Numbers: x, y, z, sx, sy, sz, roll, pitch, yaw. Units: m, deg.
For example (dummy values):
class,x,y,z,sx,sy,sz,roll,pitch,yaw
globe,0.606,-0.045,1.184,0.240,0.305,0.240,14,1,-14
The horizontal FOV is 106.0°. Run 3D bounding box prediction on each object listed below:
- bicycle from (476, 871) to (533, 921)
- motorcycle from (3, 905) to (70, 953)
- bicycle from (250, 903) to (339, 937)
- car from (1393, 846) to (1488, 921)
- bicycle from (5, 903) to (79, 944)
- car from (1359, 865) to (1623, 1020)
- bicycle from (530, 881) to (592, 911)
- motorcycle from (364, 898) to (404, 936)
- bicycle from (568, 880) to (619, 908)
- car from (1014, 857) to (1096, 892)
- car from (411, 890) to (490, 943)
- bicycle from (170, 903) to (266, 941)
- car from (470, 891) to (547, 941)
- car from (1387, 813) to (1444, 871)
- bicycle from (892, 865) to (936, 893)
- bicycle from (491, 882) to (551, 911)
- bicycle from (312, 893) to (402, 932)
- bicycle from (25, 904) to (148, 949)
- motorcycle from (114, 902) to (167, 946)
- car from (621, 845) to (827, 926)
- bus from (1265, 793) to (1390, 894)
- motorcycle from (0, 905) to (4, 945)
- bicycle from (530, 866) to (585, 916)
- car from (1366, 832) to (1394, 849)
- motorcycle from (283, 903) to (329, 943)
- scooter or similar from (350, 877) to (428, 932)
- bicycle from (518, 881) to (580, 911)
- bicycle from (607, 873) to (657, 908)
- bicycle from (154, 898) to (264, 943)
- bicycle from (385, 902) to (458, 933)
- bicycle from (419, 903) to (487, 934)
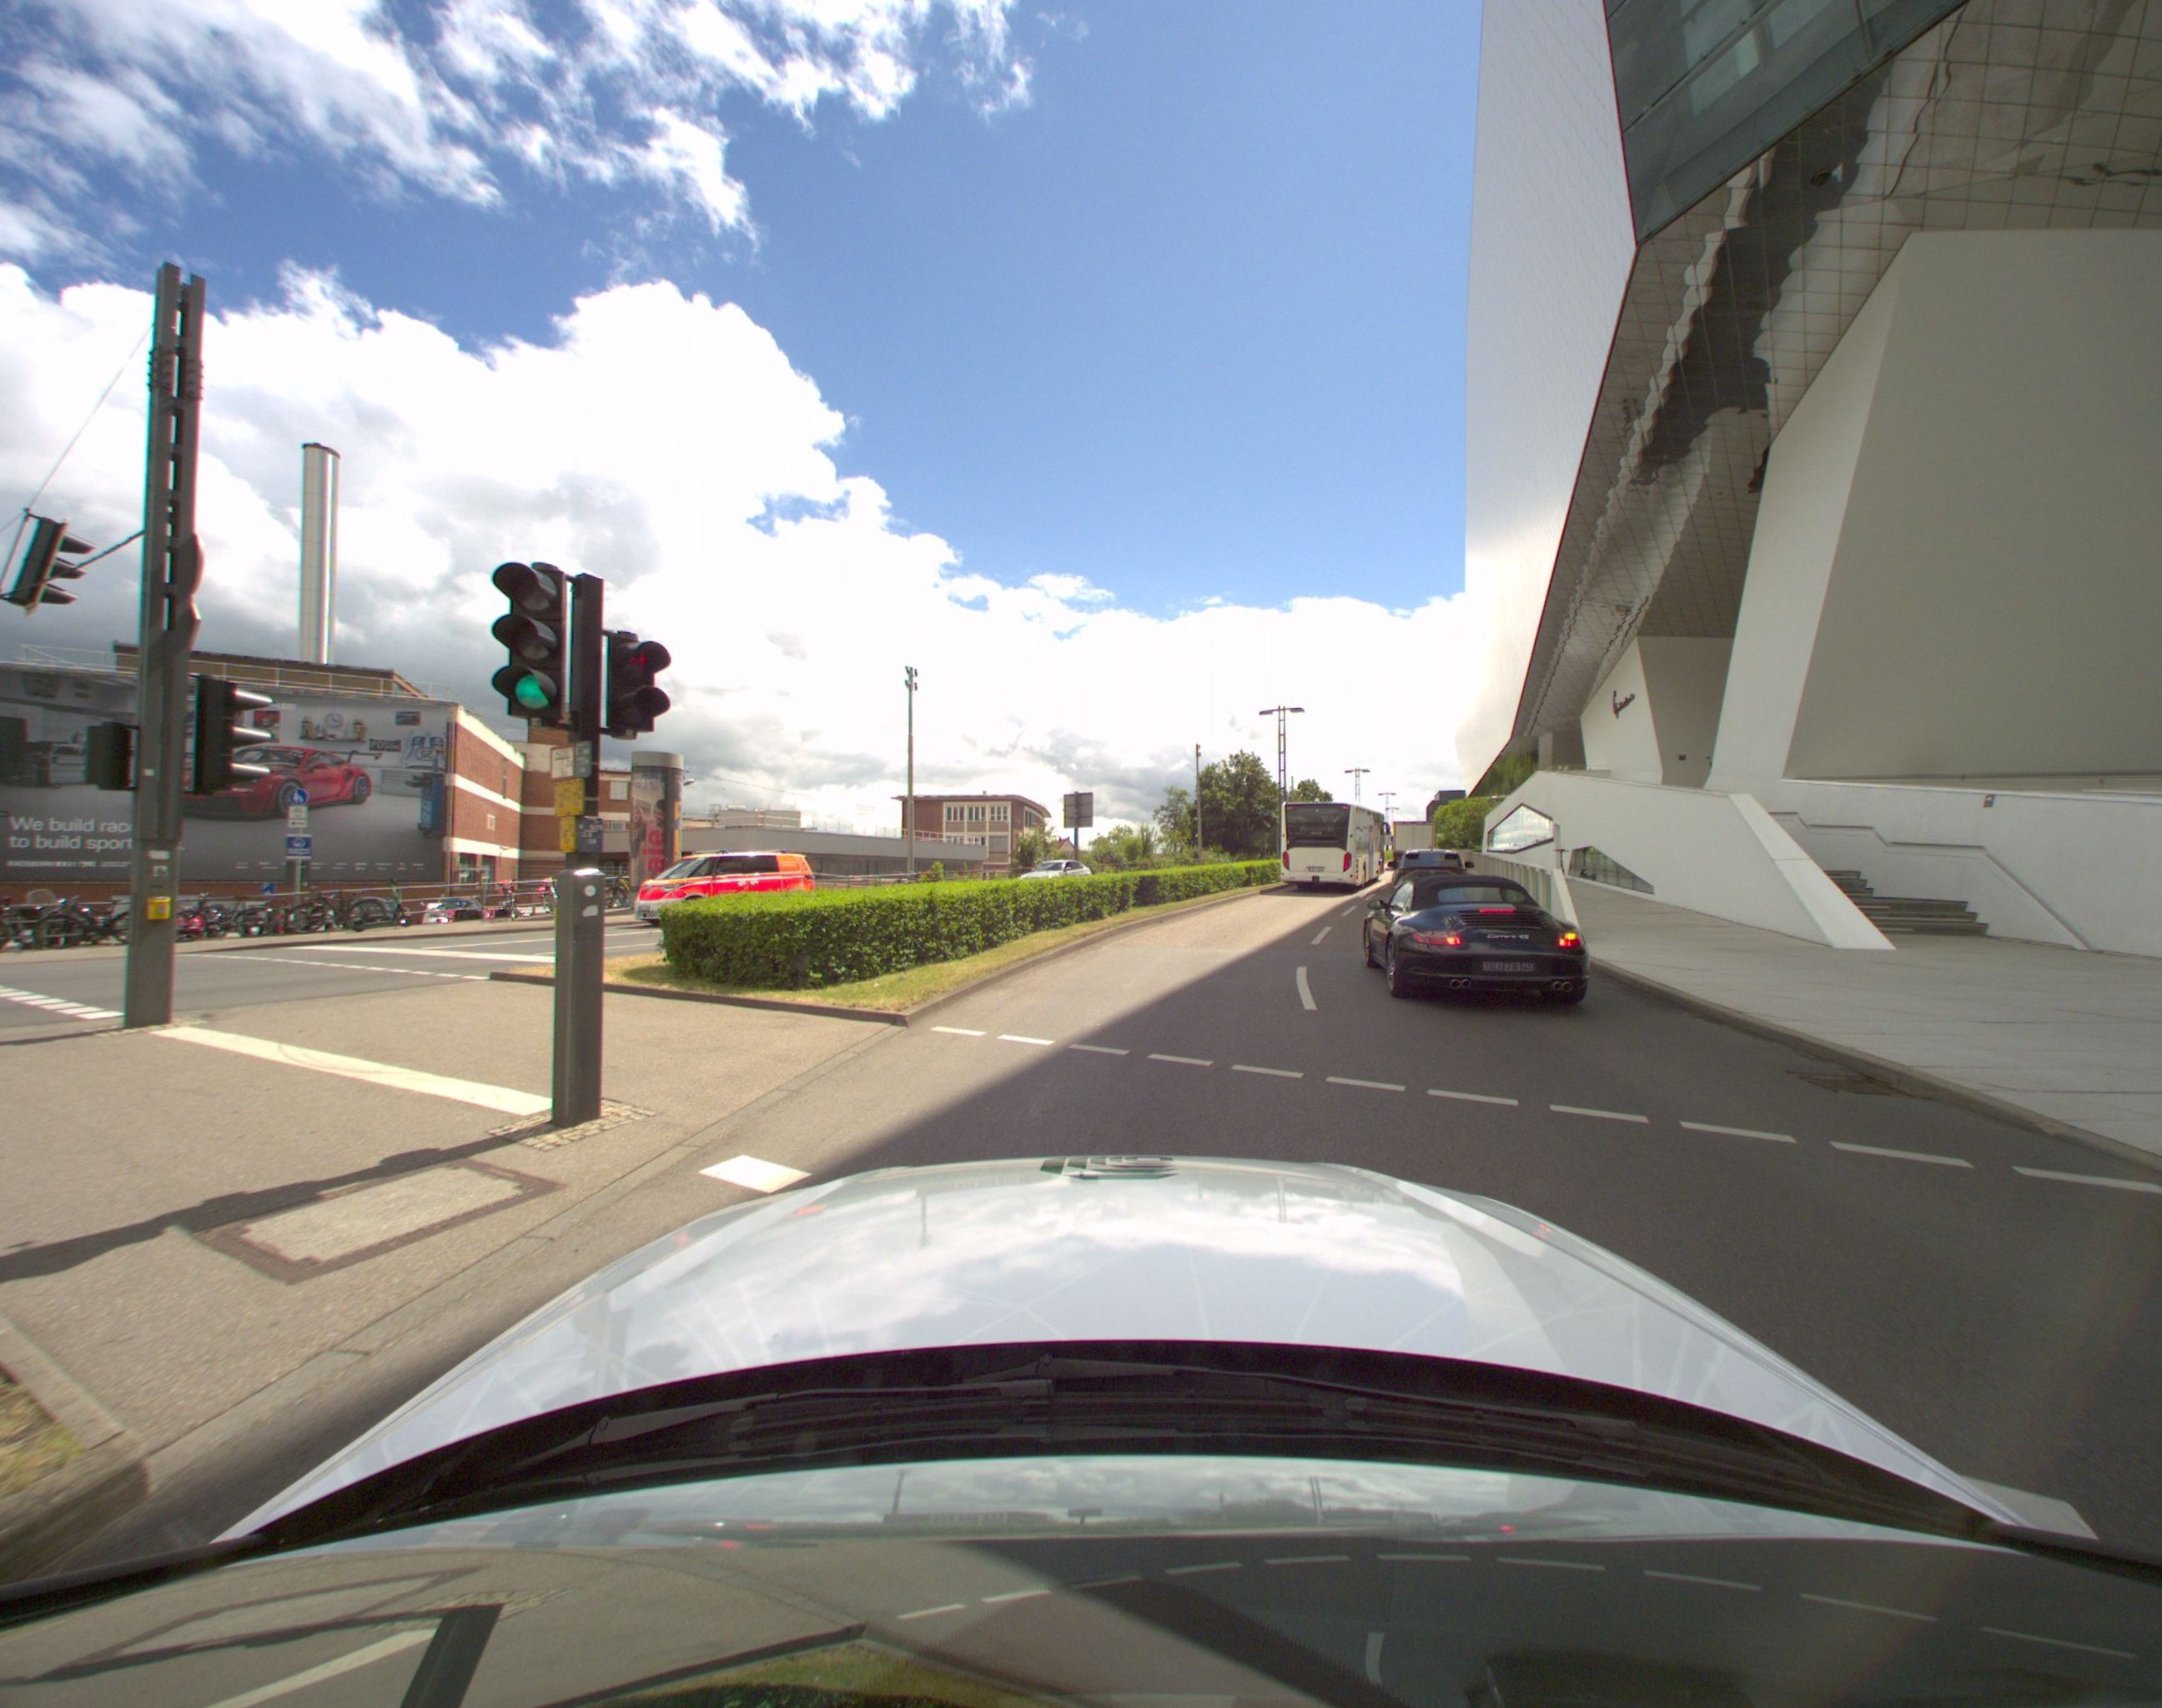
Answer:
class,x,y,z,sx,sy,sz,roll,pitch,yaw
bicycle,-16.032,1.148,22.638,1.591,1.317,0.495,1,-2,24
motorcycle,-31.220,2.208,24.394,2.876,1.196,0.925,0,-3,43
bicycle,-21.227,1.778,22.024,1.616,0.866,0.488,3,-2,-31
car,9.037,0.650,20.598,1.976,1.636,4.022,1,1,23
bicycle,-24.500,1.623,19.230,0.494,0.866,1.595,3,-2,-31
car,4.423,0.828,9.479,1.822,1.325,4.014,0,0,13
bicycle,-17.014,1.371,26.694,0.486,0.866,1.621,-2,0,37
motorcycle,-25.209,2.243,29.430,0.925,1.196,2.877,4,-3,-43
bicycle,-17.327,1.408,28.983,0.487,0.866,1.619,0,2,18
car,-1.107,0.902,37.399,1.739,1.397,4.701,1,1,26
car,-24.297,2.365,31.343,3.439,1.785,1.640,0,-3,40
bicycle,-22.096,1.728,20.874,1.613,0.866,0.489,0,-1,-24
car,-23.392,2.491,33.238,3.439,1.804,1.714,0,-3,41
car,23.483,-0.723,56.892,3.306,3.505,9.392,1,-2,24
bicycle,-6.961,1.033,34.040,0.448,1.071,2.310,1,1,28
bicycle,-18.638,1.407,27.146,0.487,0.866,1.620,-1,1,23
bicycle,-18.133,1.446,20.432,0.486,0.866,1.621,-1,0,35
bicycle,-21.387,1.543,17.551,1.613,0.866,0.488,0,-1,-25
motorcycle,-29.791,2.191,25.829,2.876,1.196,0.925,0,-3,43
car,-9.647,0.805,22.422,1.974,1.983,4.867,-1,-1,34
bus,10.435,-0.519,33.283,3.044,3.361,12.295,1,2,25
motorcycle,-32.068,2.142,23.440,2.876,1.196,0.925,0,-3,43
bicycle,-15.396,1.072,23.947,1.591,1.383,0.495,1,-2,24
car,37.132,-1.682,101.078,1.987,1.904,3.998,2,-2,0
motorcycle,-27.078,2.375,28.434,2.876,1.196,0.925,0,-3,43
scooter or similar,-17.198,1.236,20.270,0.489,1.231,1.398,1,1,24
bicycle,-17.675,1.380,27.086,0.486,0.866,1.621,-1,1,35
bicycle,-14.449,1.166,26.221,1.591,1.056,0.495,1,-2,24
bicycle,-19.824,1.501,18.555,1.619,0.866,0.487,-2,1,-38
bicycle,-19.916,1.903,24.642,0.486,0.866,1.620,1,-2,27
bicycle,-18.950,1.934,24.607,0.487,0.866,1.617,1,-2,16
